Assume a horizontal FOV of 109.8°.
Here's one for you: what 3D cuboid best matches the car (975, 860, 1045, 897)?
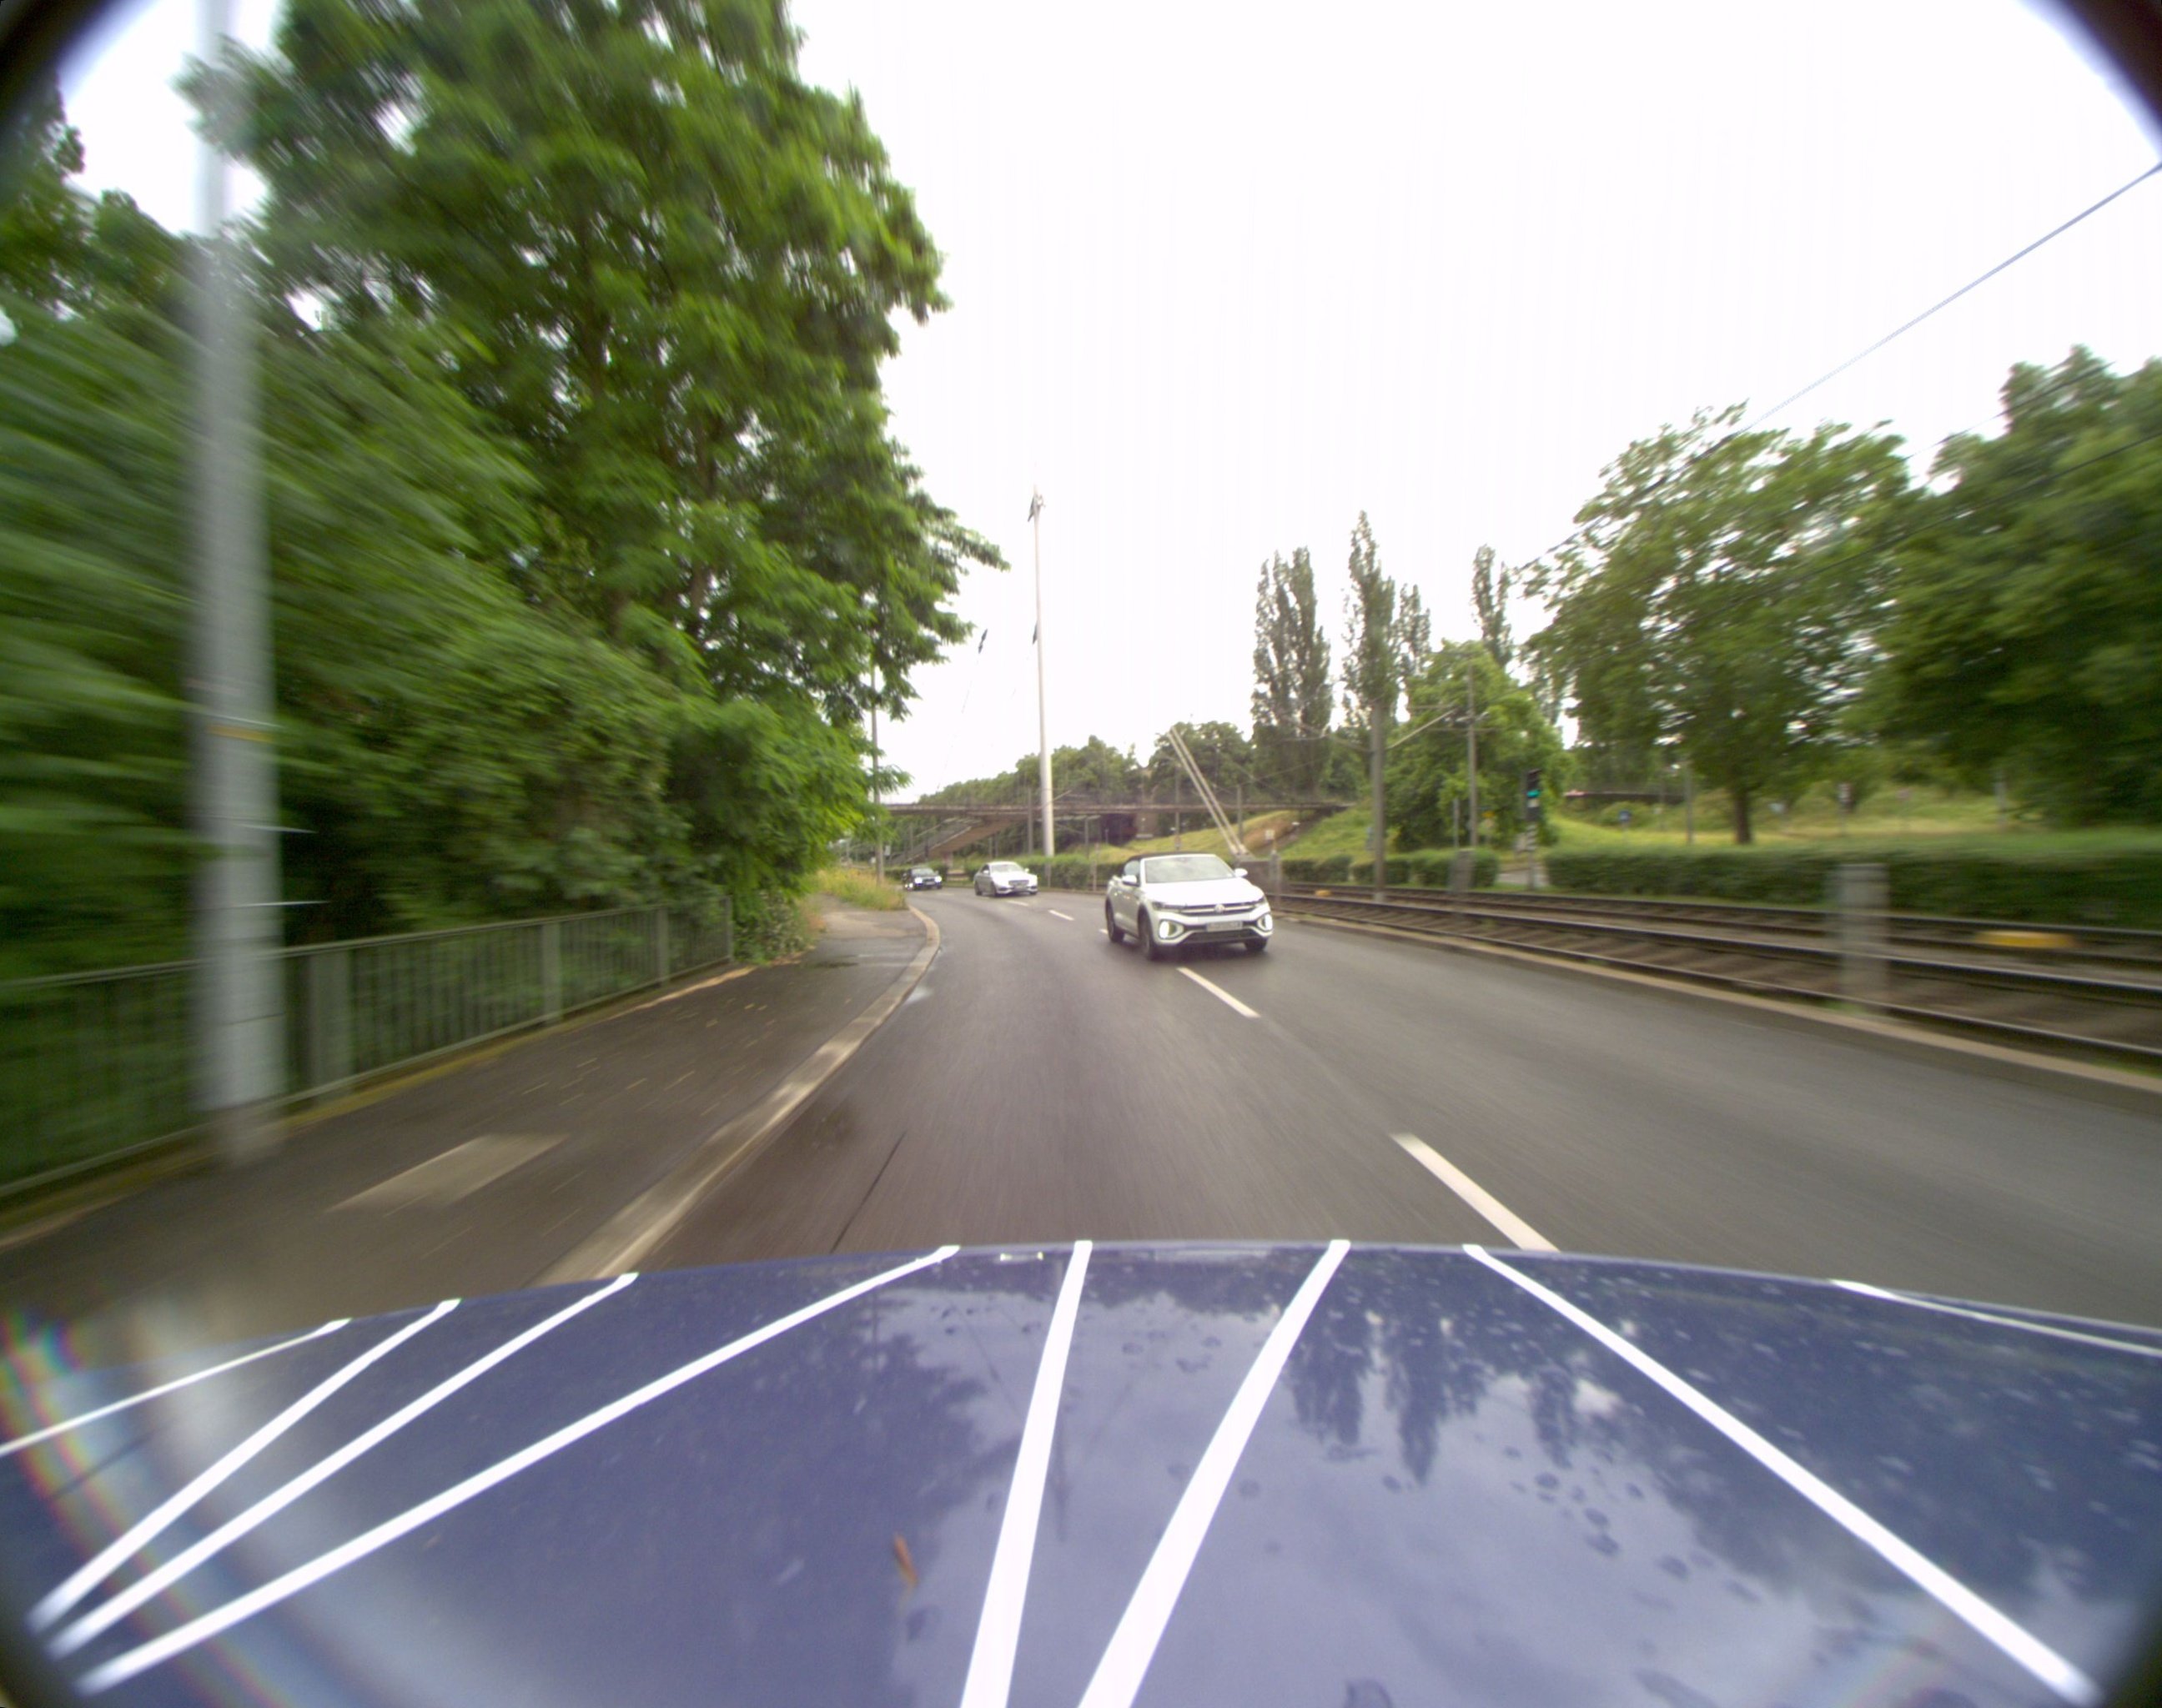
[{"bbox_3d":[-3.076,1.026,32.147,1.874,1.348,4.053,-4,0,-21],"label":"car"}]

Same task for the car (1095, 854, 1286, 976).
[{"bbox_3d":[1.516,0.829,12.376,1.877,1.515,4.537,-3,0,-7],"label":"car"}]

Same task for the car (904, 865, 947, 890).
[{"bbox_3d":[-9.701,1.423,47.230,1.739,1.344,3.992,-3,1,-23],"label":"car"}]
